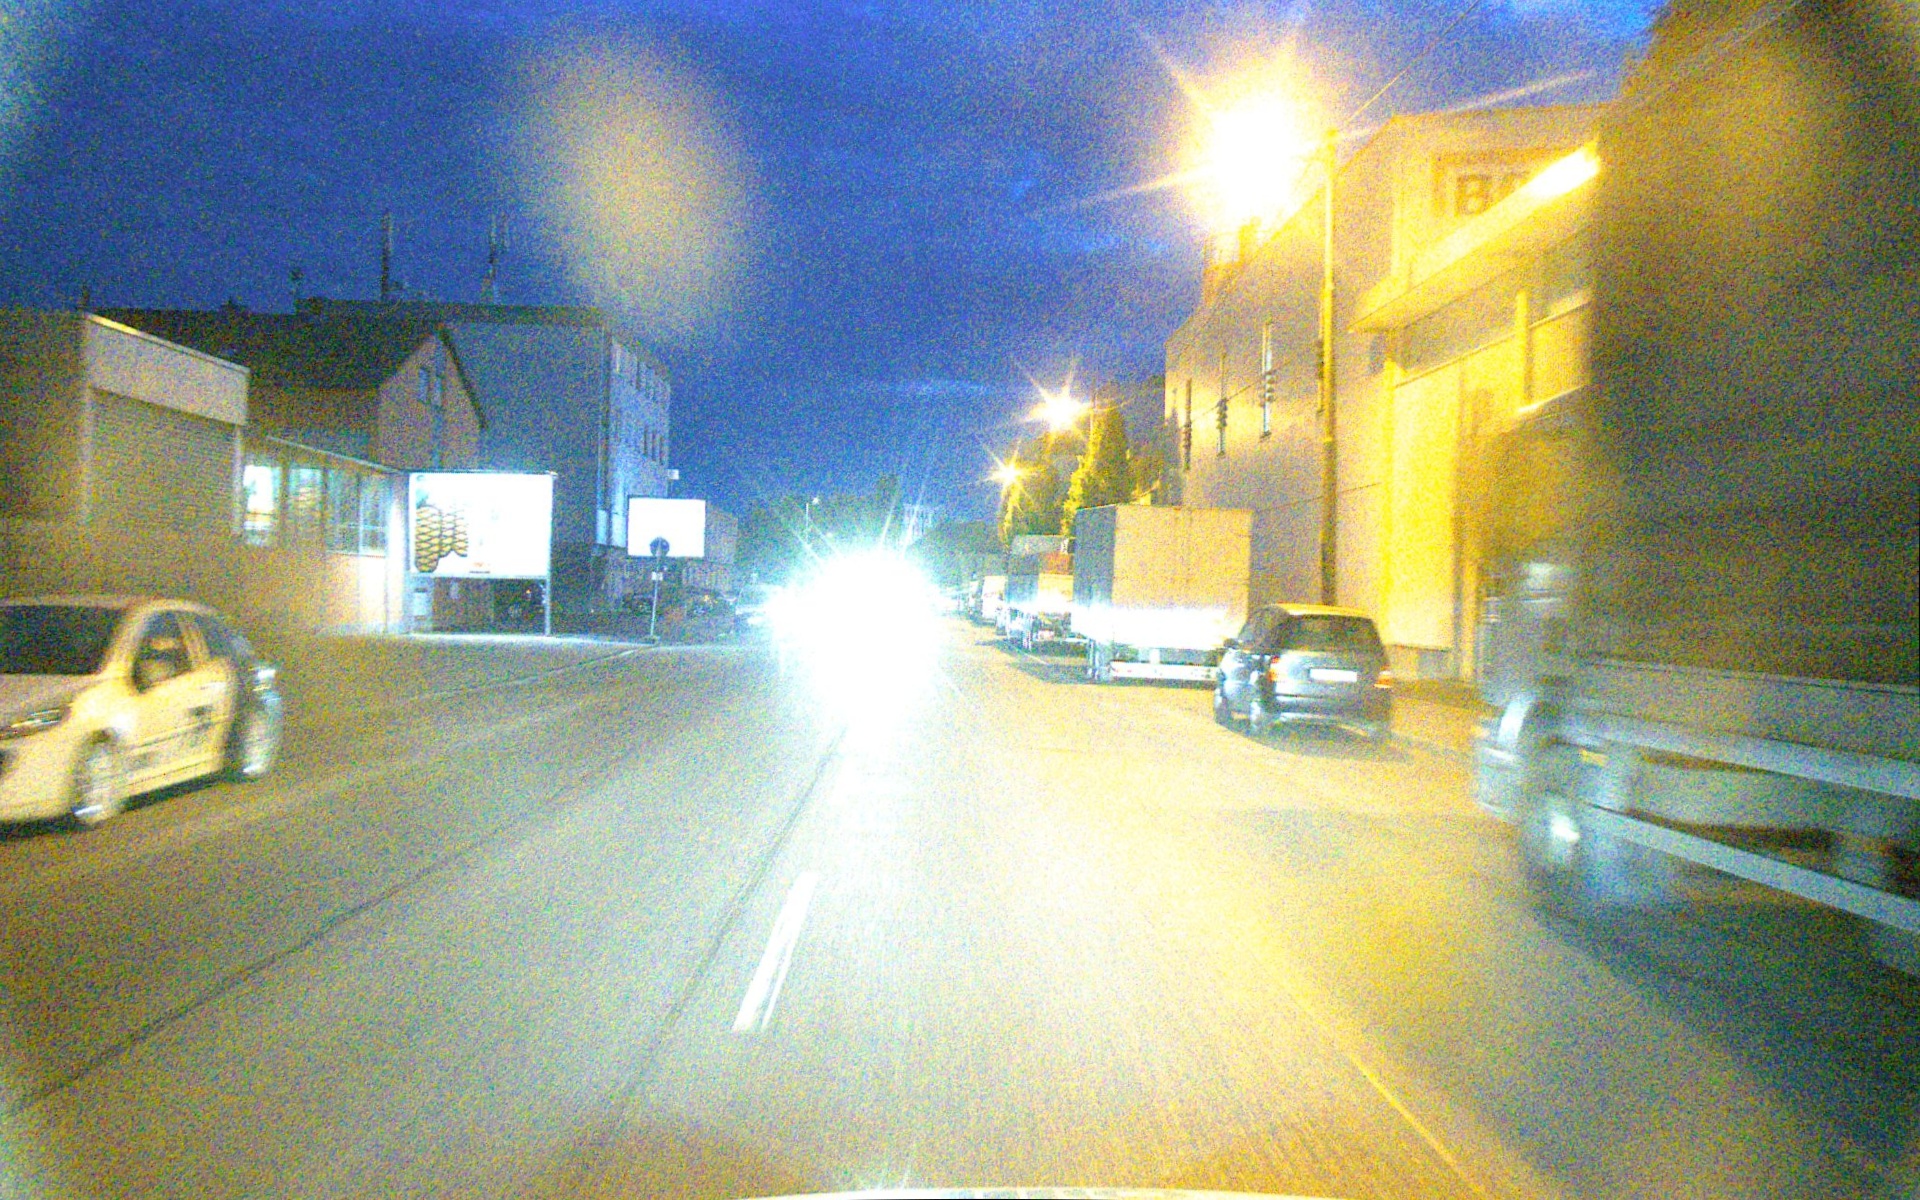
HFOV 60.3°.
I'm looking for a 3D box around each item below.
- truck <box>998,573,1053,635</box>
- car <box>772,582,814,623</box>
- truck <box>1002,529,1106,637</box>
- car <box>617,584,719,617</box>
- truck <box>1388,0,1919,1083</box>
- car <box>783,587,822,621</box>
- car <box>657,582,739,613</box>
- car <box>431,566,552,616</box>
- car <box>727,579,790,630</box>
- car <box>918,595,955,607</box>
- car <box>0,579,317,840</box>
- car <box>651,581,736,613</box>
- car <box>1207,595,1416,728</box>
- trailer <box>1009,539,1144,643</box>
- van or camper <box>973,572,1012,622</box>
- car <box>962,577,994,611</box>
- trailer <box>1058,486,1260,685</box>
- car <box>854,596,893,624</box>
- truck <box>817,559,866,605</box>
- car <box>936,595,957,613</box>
[{"bbox_3d":[2.709,0.163,69.403,1.953,2.449,5.291,1,0,-1],"label":"truck"},{"bbox_3d":[-7.505,0.092,74.638,1.645,1.766,4.353,1,0,-3],"label":"car"},{"bbox_3d":[3.136,-0.545,57.248,3.087,3.524,6.671,0,0,-1],"label":"truck"},{"bbox_3d":[-14.126,0.023,80.018,4.552,1.511,1.985,1,0,-24],"label":"car"},{"bbox_3d":[4.707,-0.520,5.486,3.450,4.053,10.336,0,0,-3],"label":"truck"},{"bbox_3d":[-8.481,0.192,89.382,1.859,1.766,4.352,1,0,-3],"label":"car"},{"bbox_3d":[-14.014,-0.108,88.377,3.941,1.622,1.982,0,0,-28],"label":"car"},{"bbox_3d":[-17.093,-0.330,60.503,3.908,1.680,1.998,1,0,-4],"label":"car"},{"bbox_3d":[-7.718,0.160,63.620,1.953,1.825,3.999,1,0,-1],"label":"car"},{"bbox_3d":[-2.880,0.139,206.298,4.437,1.404,2.000,2,0,2],"label":"car"},{"bbox_3d":[-6.042,0.595,11.260,1.804,1.445,3.999,1,0,-1],"label":"car"},{"bbox_3d":[-13.757,-0.124,85.465,3.941,1.622,1.982,0,0,-28],"label":"car"},{"bbox_3d":[4.368,0.724,21.114,1.815,1.545,3.817,0,0,-1],"label":"car"},{"bbox_3d":[3.303,-0.212,50.108,3.120,2.797,10.712,0,0,-1],"label":"trailer"},{"bbox_3d":[1.745,-0.187,91.117,1.953,2.626,4.914,1,0,-1],"label":"van or camper"},{"bbox_3d":[1.186,-0.397,111.504,1.953,2.183,3.999,1,0,-1],"label":"car"},{"bbox_3d":[3.835,-0.241,33.797,2.633,3.525,7.803,2,0,-4],"label":"trailer"},{"bbox_3d":[-4.658,0.510,89.844,1.953,1.422,3.999,1,0,-1],"label":"car"},{"bbox_3d":[-10.146,-1.538,140.760,3.816,3.685,8.248,1,0,-6],"label":"truck"},{"bbox_3d":[-1.310,0.412,161.804,1.953,1.713,3.999,1,0,-1],"label":"car"}]
